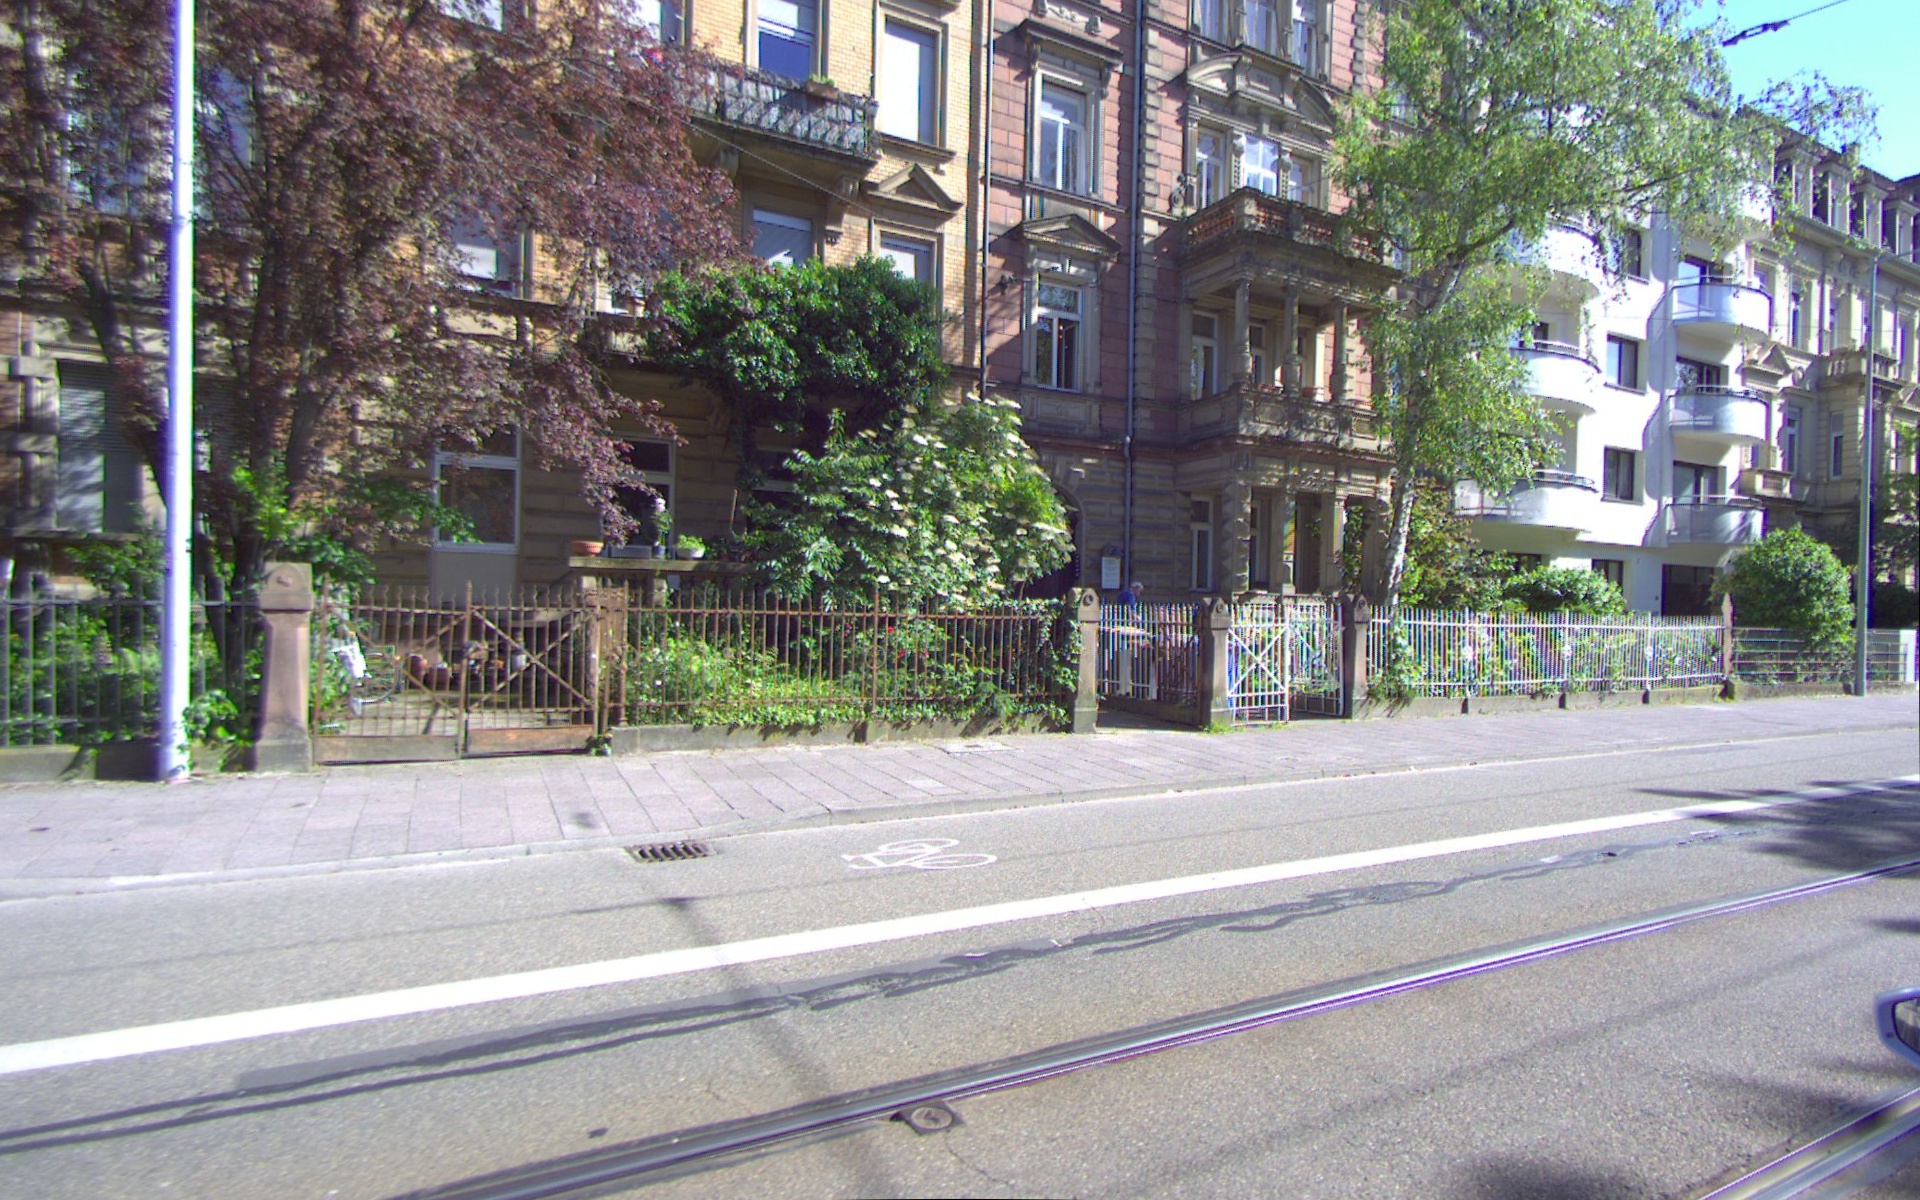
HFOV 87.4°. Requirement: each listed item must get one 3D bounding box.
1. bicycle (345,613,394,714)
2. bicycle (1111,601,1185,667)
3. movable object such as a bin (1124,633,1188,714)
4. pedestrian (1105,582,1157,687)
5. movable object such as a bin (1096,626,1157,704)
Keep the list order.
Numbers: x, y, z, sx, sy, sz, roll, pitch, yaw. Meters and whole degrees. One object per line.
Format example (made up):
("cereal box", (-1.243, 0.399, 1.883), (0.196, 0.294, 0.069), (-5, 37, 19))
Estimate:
("bicycle", (-6.327, 0.656, 10.782), (0.291, 0.985, 1.145), (1, 1, -23))
("bicycle", (3.165, 0.558, 17.020), (0.418, 1.026, 1.454), (1, 1, -27))
("movable object such as a bin", (2.716, 1.006, 13.940), (0.611, 1.068, 0.582), (1, 1, -29))
("pedestrian", (2.810, 0.557, 16.512), (0.599, 1.696, 0.511), (1, 2, -29))
("movable object such as a bin", (2.410, 0.926, 14.530), (0.611, 1.068, 0.582), (1, 1, -29))
